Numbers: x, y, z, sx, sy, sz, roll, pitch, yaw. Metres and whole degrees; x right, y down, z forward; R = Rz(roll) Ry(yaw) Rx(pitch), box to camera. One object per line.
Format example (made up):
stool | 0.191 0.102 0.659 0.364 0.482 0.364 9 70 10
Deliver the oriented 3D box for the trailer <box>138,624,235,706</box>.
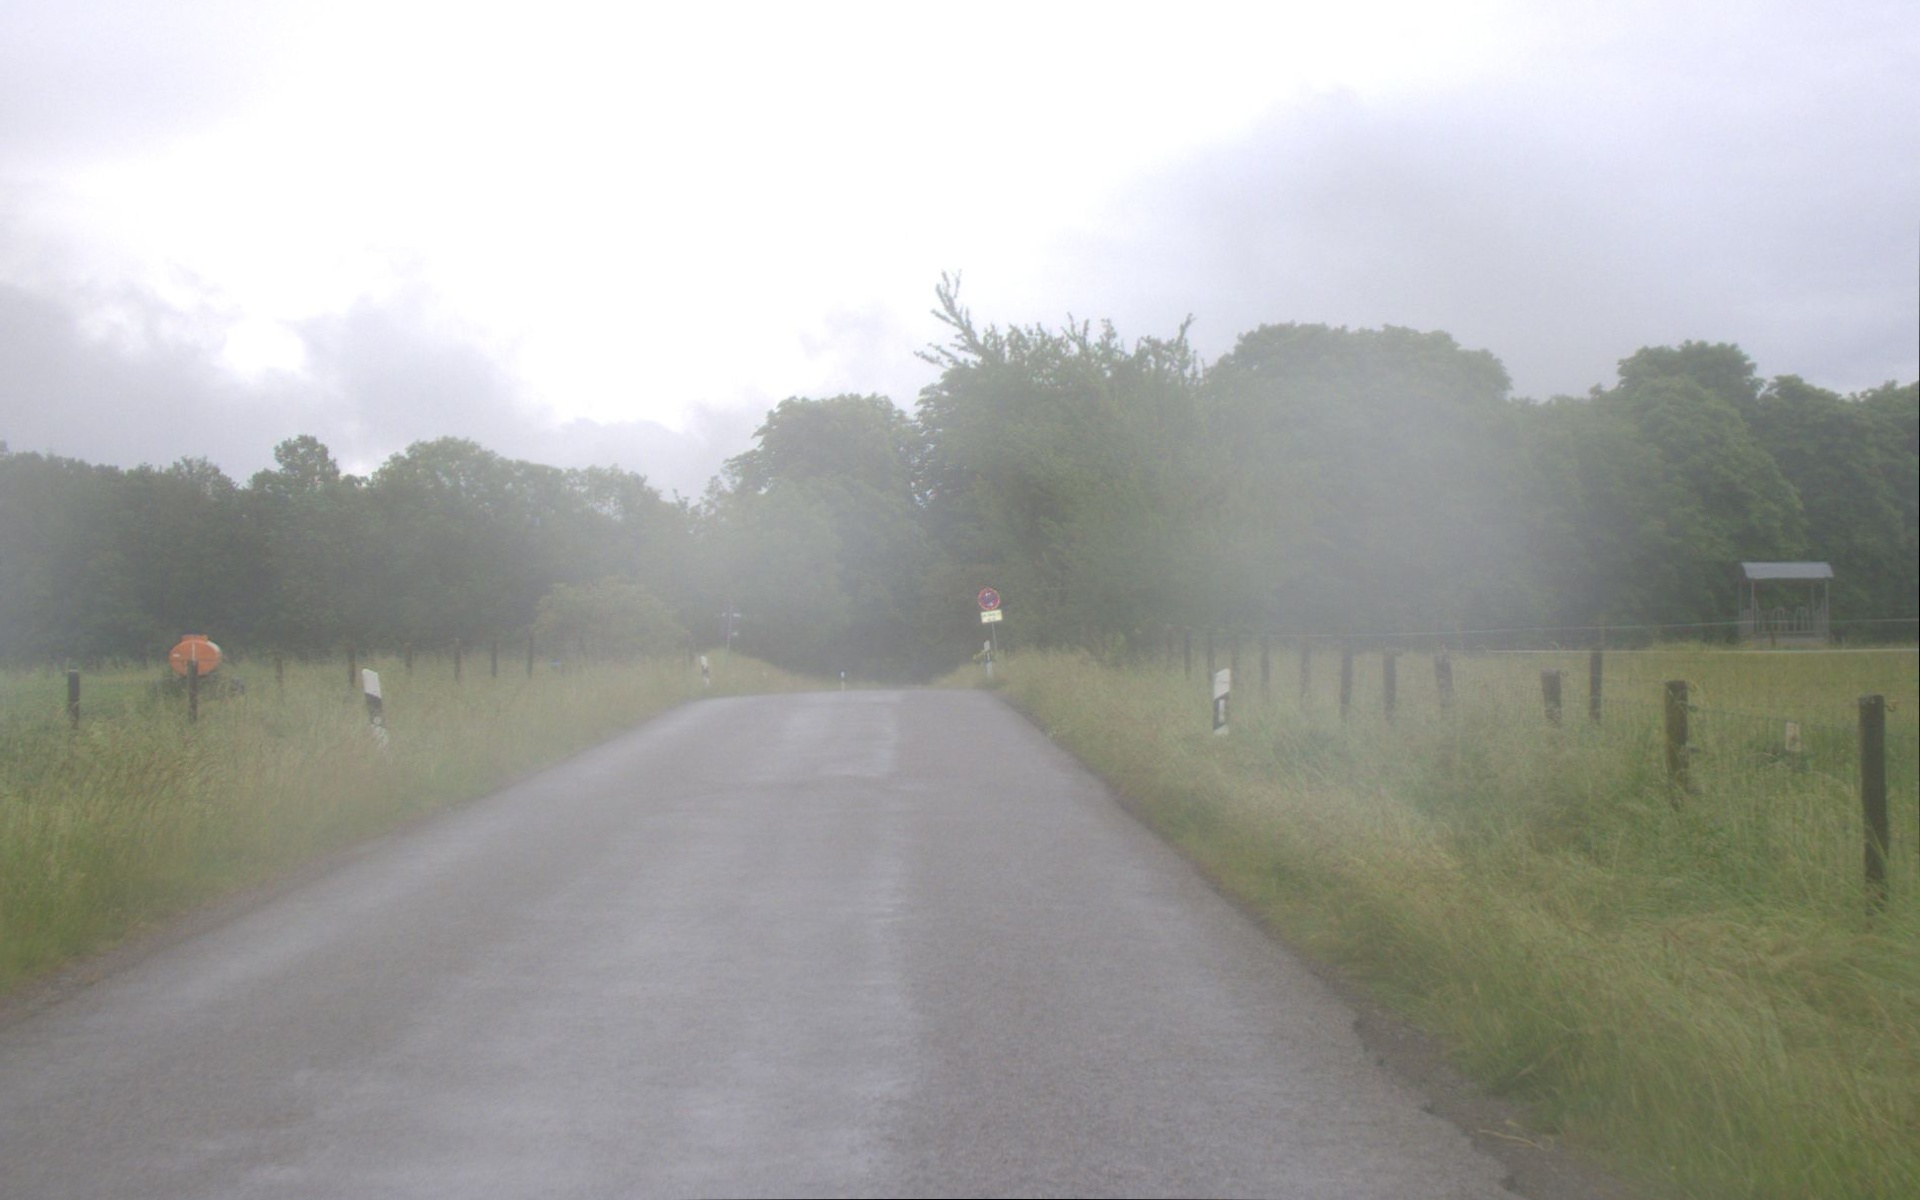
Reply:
trailer | -15.000 1.248 66.787 1.751 1.499 3.091 -1 0 -11
